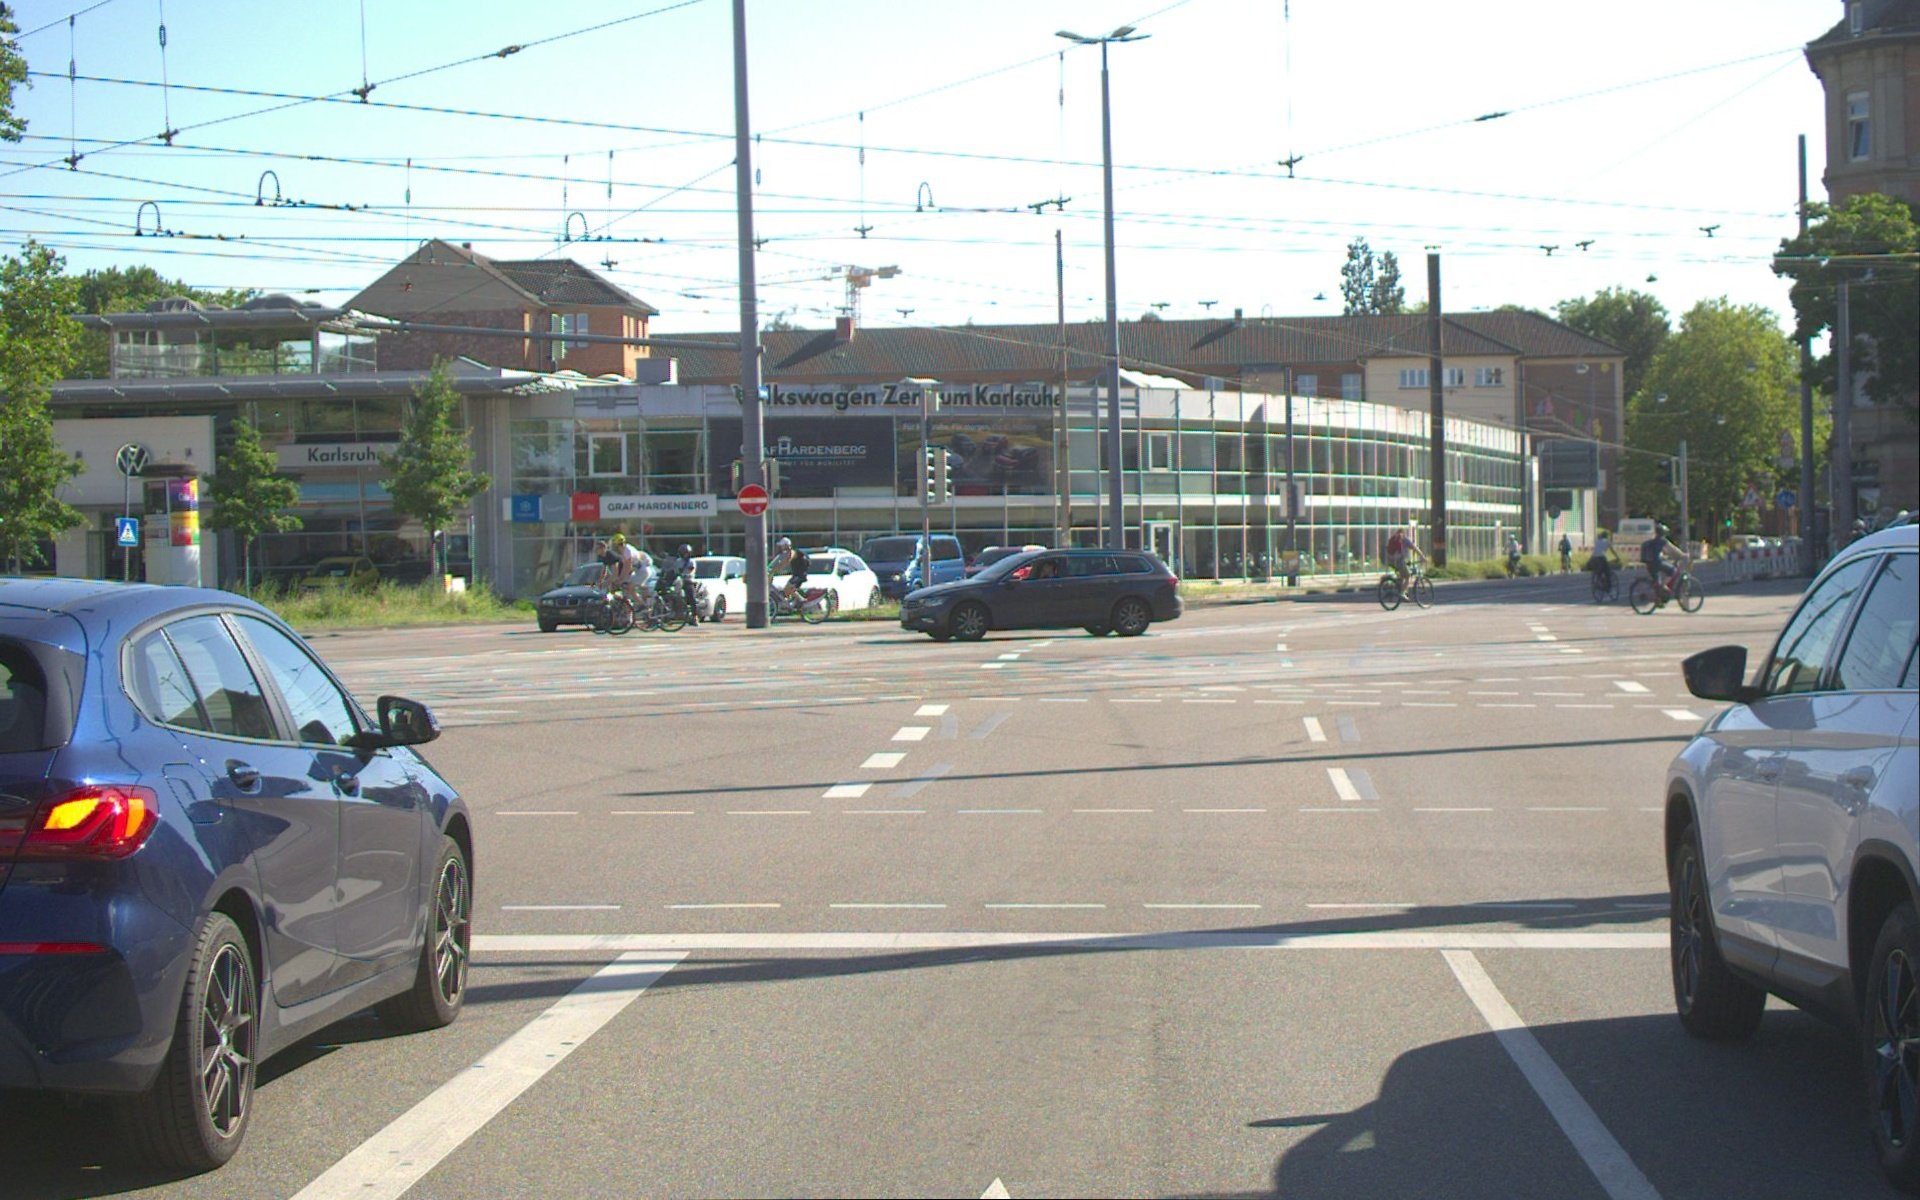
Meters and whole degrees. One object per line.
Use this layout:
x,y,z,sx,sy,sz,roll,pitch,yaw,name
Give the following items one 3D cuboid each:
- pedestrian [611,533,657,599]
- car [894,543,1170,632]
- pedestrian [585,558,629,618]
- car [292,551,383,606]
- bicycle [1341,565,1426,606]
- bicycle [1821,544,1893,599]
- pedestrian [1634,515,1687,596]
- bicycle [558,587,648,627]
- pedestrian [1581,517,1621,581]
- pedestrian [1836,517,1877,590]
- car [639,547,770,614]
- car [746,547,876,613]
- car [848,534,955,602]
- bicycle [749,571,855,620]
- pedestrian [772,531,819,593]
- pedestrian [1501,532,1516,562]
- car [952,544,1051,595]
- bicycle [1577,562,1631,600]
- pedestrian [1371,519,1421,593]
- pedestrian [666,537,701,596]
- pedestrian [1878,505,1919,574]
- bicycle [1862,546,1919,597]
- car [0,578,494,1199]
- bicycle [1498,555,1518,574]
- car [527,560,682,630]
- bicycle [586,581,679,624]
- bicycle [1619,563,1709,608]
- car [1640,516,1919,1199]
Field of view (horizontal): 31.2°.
-6.008,-0.632,63.380,0.747,1.200,0.424,-1,1,-20,pedestrian
1.181,-0.224,57.265,4.209,1.396,1.859,-1,1,-16,car
-6.732,-0.236,65.605,0.747,1.123,0.424,-1,1,-17,pedestrian
-20.078,-0.711,111.038,1.966,1.700,4.083,-1,1,3,car
9.260,-0.324,75.169,1.926,0.867,0.745,-1,1,-42,bicycle
18.894,-0.606,72.394,0.548,1.116,2.014,0,1,44,bicycle
14.223,-0.901,69.798,0.716,1.626,0.758,-1,1,-39,pedestrian
-6.810,0.132,65.585,1.628,0.715,0.424,-1,1,-16,bicycle
15.368,-1.228,82.439,0.747,1.517,0.717,0,1,28,pedestrian
18.869,-0.983,72.350,0.548,1.512,0.704,0,1,44,pedestrian
-5.701,-0.457,77.050,1.627,1.419,3.682,-1,1,18,car
-3.221,-0.448,75.013,1.627,1.377,3.735,-1,1,18,car
-1.495,-0.839,88.947,1.627,1.686,3.682,-1,1,18,car
-3.104,-0.093,67.550,2.004,0.910,0.562,-1,1,-17,bicycle
-3.224,-0.752,67.510,0.793,1.200,0.560,-1,1,-17,pedestrian
22.033,-2.121,138.160,0.423,1.200,0.680,-1,1,23,pedestrian
1.182,-0.851,95.922,1.628,1.359,3.682,-1,1,20,car
15.503,-0.457,82.683,0.744,0.867,1.928,0,1,27,bicycle
9.578,-0.969,75.506,0.716,1.626,0.805,-1,1,-42,pedestrian
-5.694,-0.691,70.831,0.423,1.200,0.749,-1,1,20,pedestrian
20.874,-1.350,76.416,0.704,1.512,0.548,-1,1,-35,pedestrian
20.950,-0.643,76.469,2.013,1.116,0.550,-1,1,-36,bicycle
-2.552,0.676,9.653,1.711,1.440,4.031,1,1,3,car
22.023,-1.435,138.122,0.423,0.715,1.473,-1,1,23,bicycle
-7.328,-0.116,71.188,1.705,1.349,3.697,-1,1,20,car
-6.037,0.047,63.375,1.629,0.756,0.424,-1,1,-19,bicycle
14.303,-0.301,69.840,1.925,0.867,0.745,-1,1,-40,bicycle
3.068,0.595,9.293,1.695,1.636,4.297,-1,1,2,car
